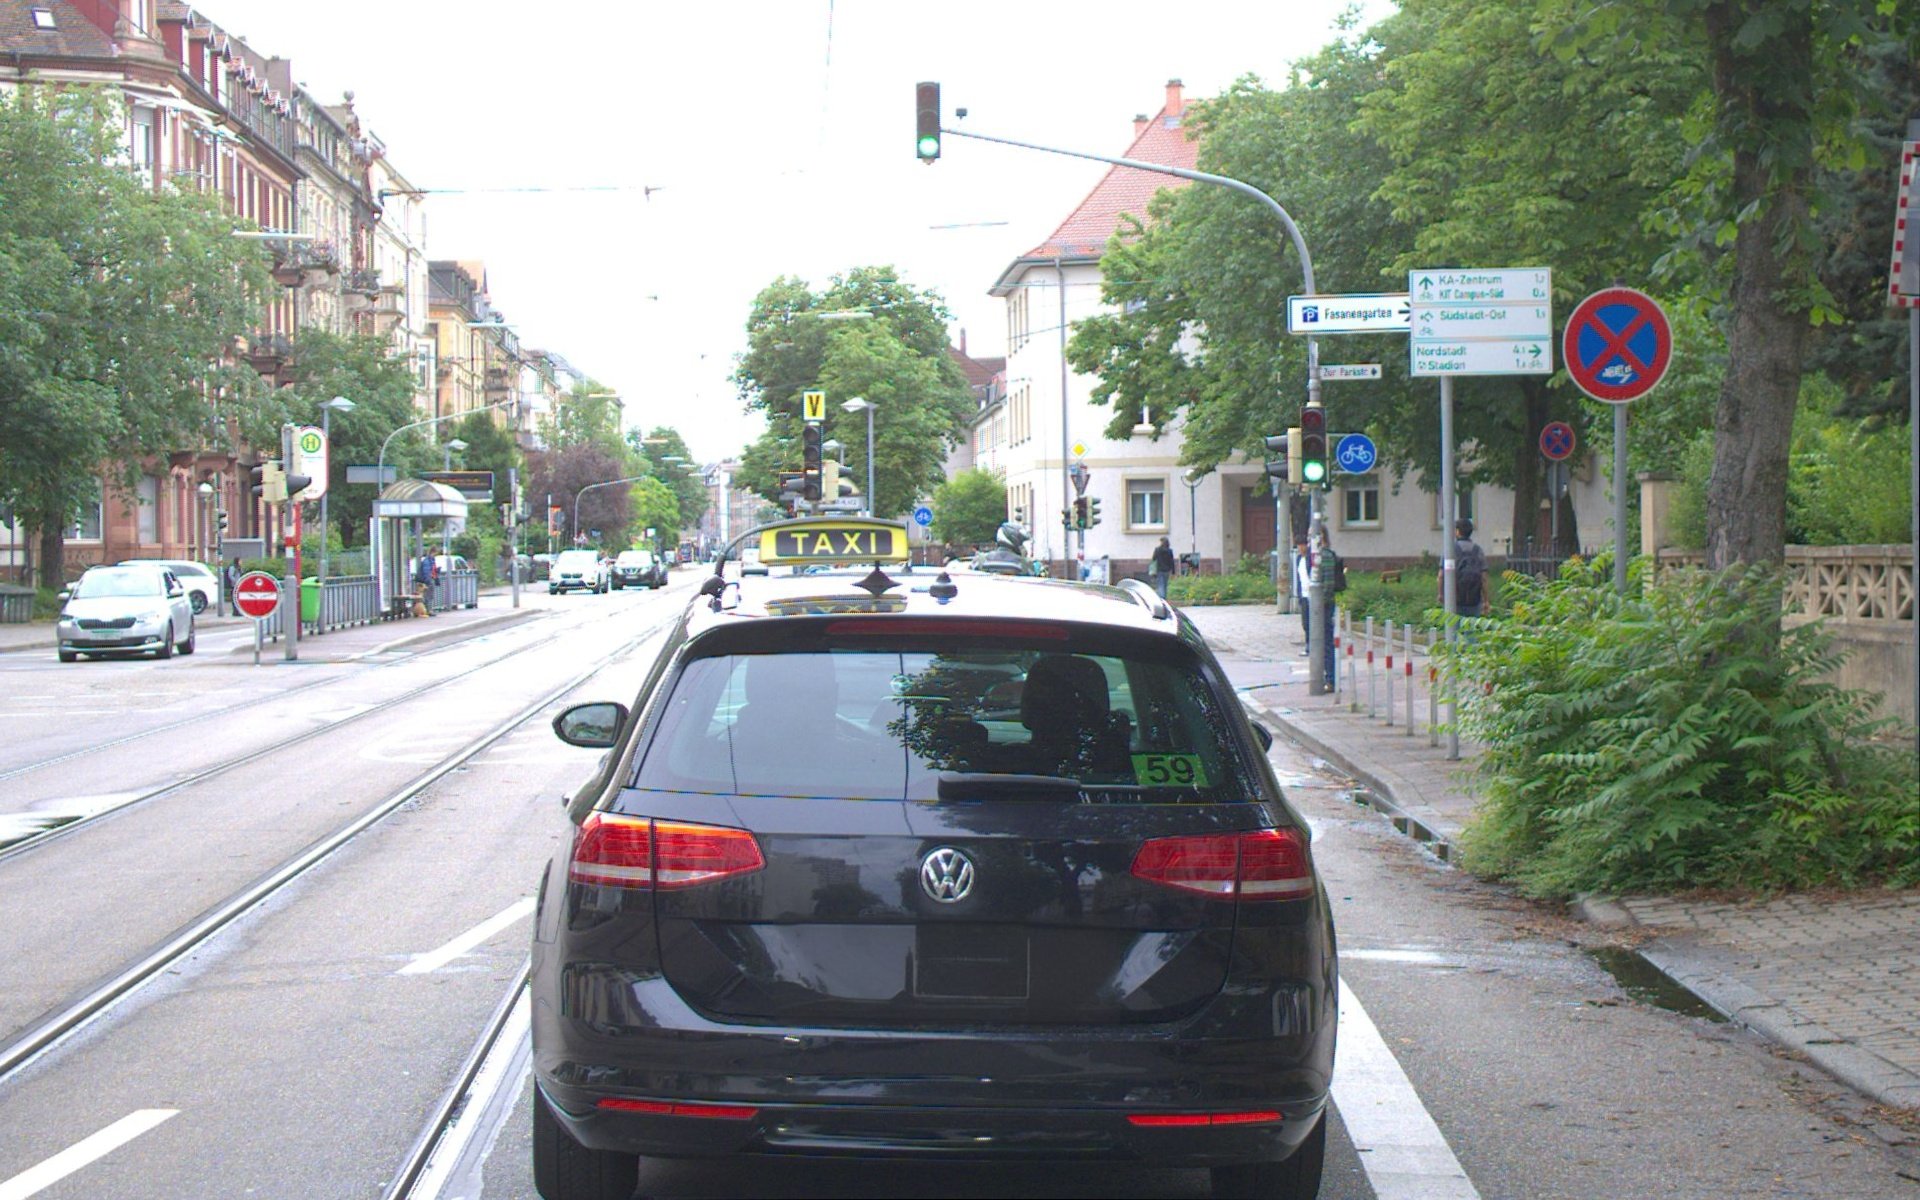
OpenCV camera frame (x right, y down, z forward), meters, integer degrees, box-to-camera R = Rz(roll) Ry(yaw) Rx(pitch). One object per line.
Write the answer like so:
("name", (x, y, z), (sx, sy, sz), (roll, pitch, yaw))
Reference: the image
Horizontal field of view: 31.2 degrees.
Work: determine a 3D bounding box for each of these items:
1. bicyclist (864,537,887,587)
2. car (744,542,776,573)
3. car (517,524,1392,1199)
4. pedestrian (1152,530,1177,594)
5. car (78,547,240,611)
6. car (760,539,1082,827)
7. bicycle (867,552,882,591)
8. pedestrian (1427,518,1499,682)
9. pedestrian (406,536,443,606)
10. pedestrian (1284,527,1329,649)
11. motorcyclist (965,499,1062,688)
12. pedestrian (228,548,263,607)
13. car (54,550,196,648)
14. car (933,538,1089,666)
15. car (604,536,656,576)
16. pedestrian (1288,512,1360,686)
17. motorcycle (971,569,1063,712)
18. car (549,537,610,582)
("bicyclist", (-2.698, -1.223, 110.360), (0.651, 1.563, 0.695), (-1, 1, 4))
("car", (-13.110, -2.776, 225.228), (2.032, 2.007, 4.000), (0, 0, -3))
("car", (-0.098, 0.585, 8.771), (1.723, 1.541, 4.001), (0, 1, -3))
("pedestrian", (4.960, -0.921, 83.416), (0.581, 1.548, 0.609), (0, 1, 0))
("car", (-21.336, -0.578, 91.626), (3.853, 1.617, 1.725), (-2, 1, -45))
("car", (-0.302, 0.408, 20.417), (1.723, 1.541, 4.001), (0, 1, -3))
("bicycle", (-2.736, -0.920, 110.306), (0.297, 1.219, 1.430), (-1, 1, 5))
("pedestrian", (5.629, -0.007, 38.478), (0.632, 1.808, 0.726), (-1, 1, -5))
("pedestrian", (-11.712, -0.630, 75.218), (0.714, 1.515, 0.590), (-1, 1, -1))
("pedestrian", (5.263, -0.185, 52.193), (0.514, 1.824, 0.418), (-4, 1, -1))
("motorcyclist", (0.492, -0.063, 31.275), (0.703, 1.686, 0.804), (-1, 1, 13))
("pedestrian", (-18.540, -0.577, 89.196), (0.589, 1.515, 0.648), (0, 1, 33))
("car", (-12.905, -0.048, 53.312), (1.688, 1.406, 4.001), (-2, 1, -7))
("car", (0.598, -0.013, 43.274), (1.723, 1.541, 4.001), (0, 1, -3))
("car", (-13.836, -1.863, 144.278), (1.795, 1.590, 4.000), (-1, 1, 0))
("pedestrian", (3.907, -0.013, 36.945), (0.585, 1.824, 0.604), (-4, 1, -1))
("motorcycle", (0.530, 0.353, 31.230), (0.447, 1.231, 1.906), (-1, 1, 12))
("car", (-14.089, -1.516, 127.351), (1.795, 1.590, 4.000), (-1, 1, 0))
